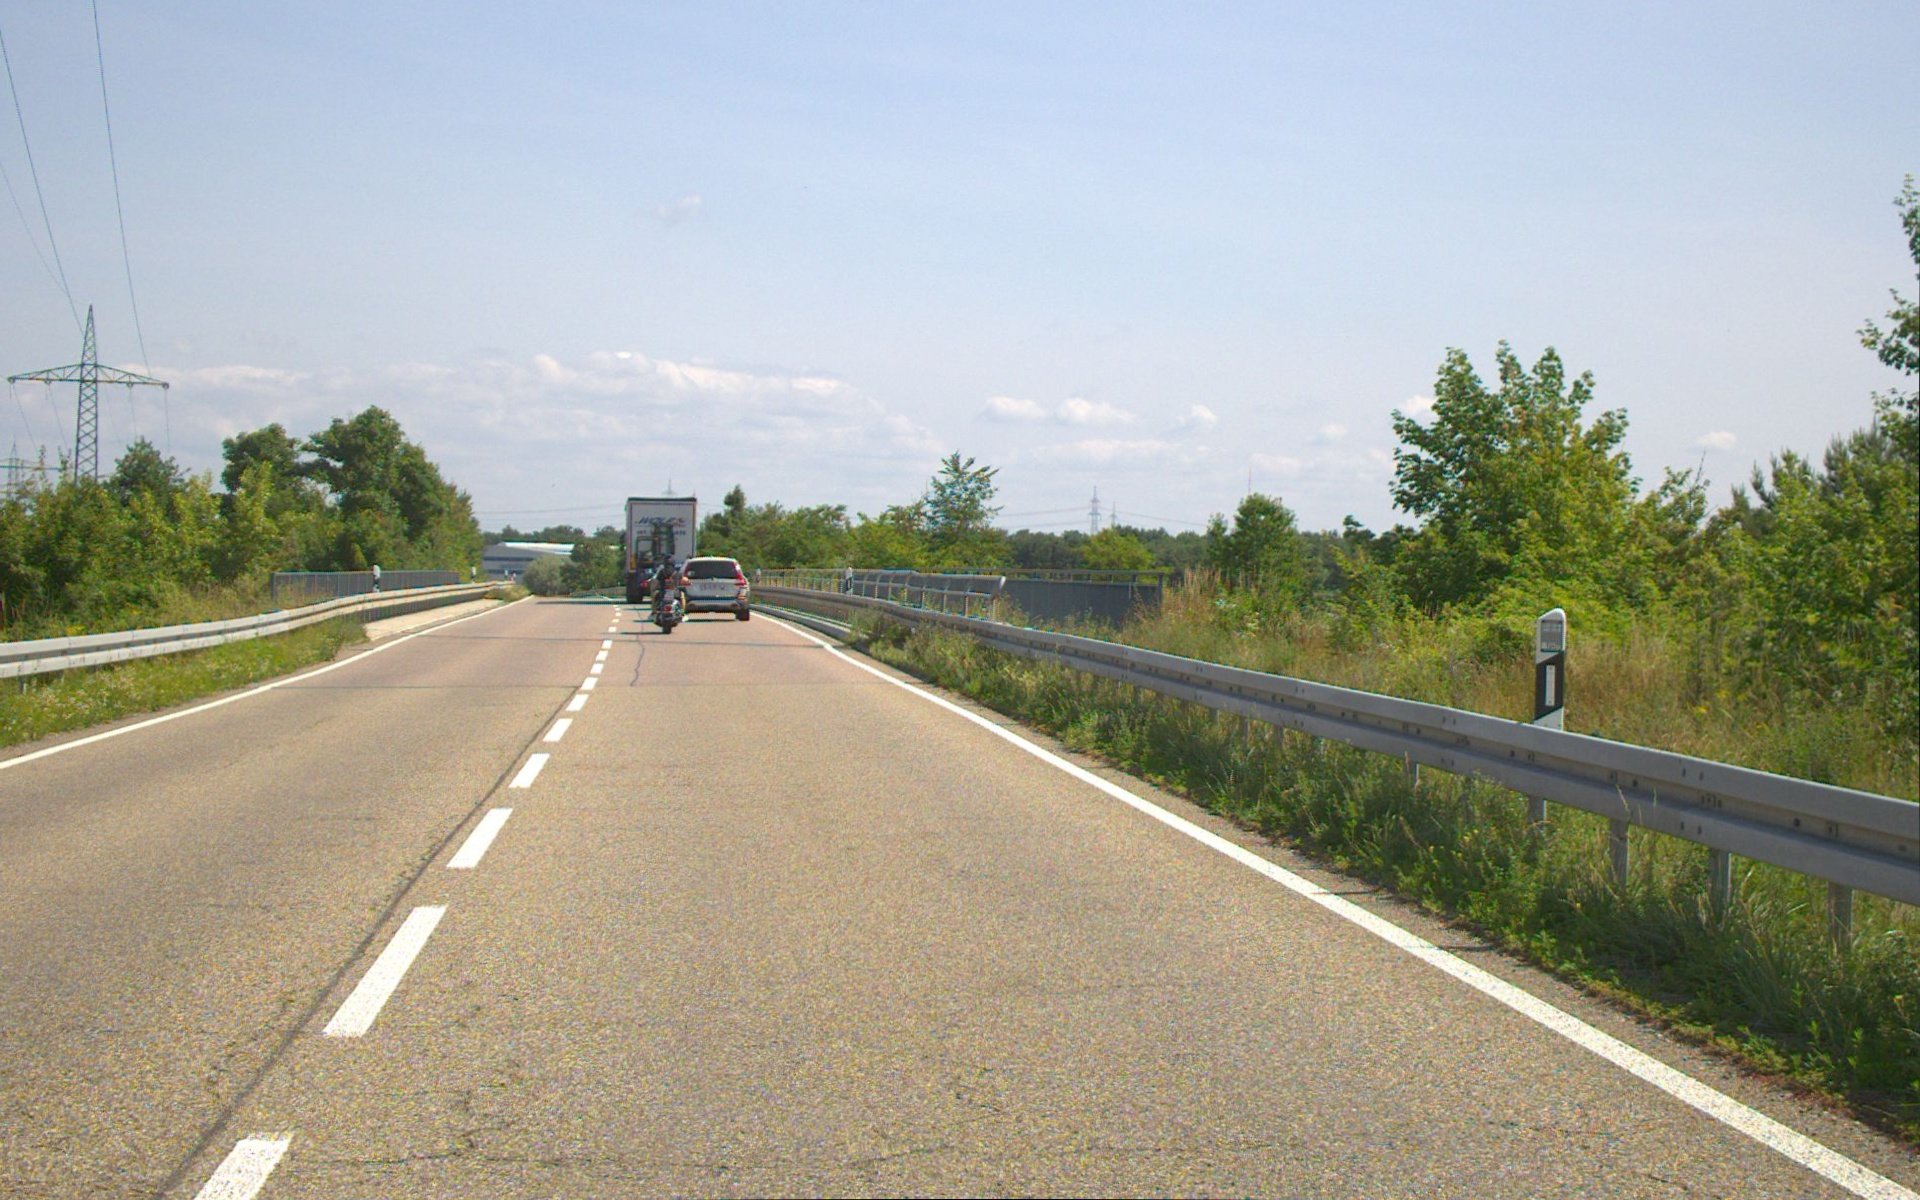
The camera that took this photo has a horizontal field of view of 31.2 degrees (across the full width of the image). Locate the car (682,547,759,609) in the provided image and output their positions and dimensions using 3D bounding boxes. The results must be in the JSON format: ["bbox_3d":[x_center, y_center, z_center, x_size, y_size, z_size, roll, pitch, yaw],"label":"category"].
[{"bbox_3d":[-5.904,-0.554,84.284,1.825,1.446,4.001,0,1,-5],"label":"car"}]

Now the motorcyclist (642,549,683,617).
[{"bbox_3d":[-5.916,-0.338,68.322,0.780,1.321,0.813,0,1,-4],"label":"motorcyclist"}]

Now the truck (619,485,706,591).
[{"bbox_3d":[-11.580,-2.379,134.281,3.241,3.965,9.445,0,1,-5],"label":"truck"}]

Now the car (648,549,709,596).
[{"bbox_3d":[-8.911,-0.892,108.951,1.865,1.415,4.001,1,1,-4],"label":"car"}]

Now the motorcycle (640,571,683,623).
[{"bbox_3d":[-5.928,-0.074,68.306,0.780,0.972,2.362,0,1,-4],"label":"motorcycle"}]
